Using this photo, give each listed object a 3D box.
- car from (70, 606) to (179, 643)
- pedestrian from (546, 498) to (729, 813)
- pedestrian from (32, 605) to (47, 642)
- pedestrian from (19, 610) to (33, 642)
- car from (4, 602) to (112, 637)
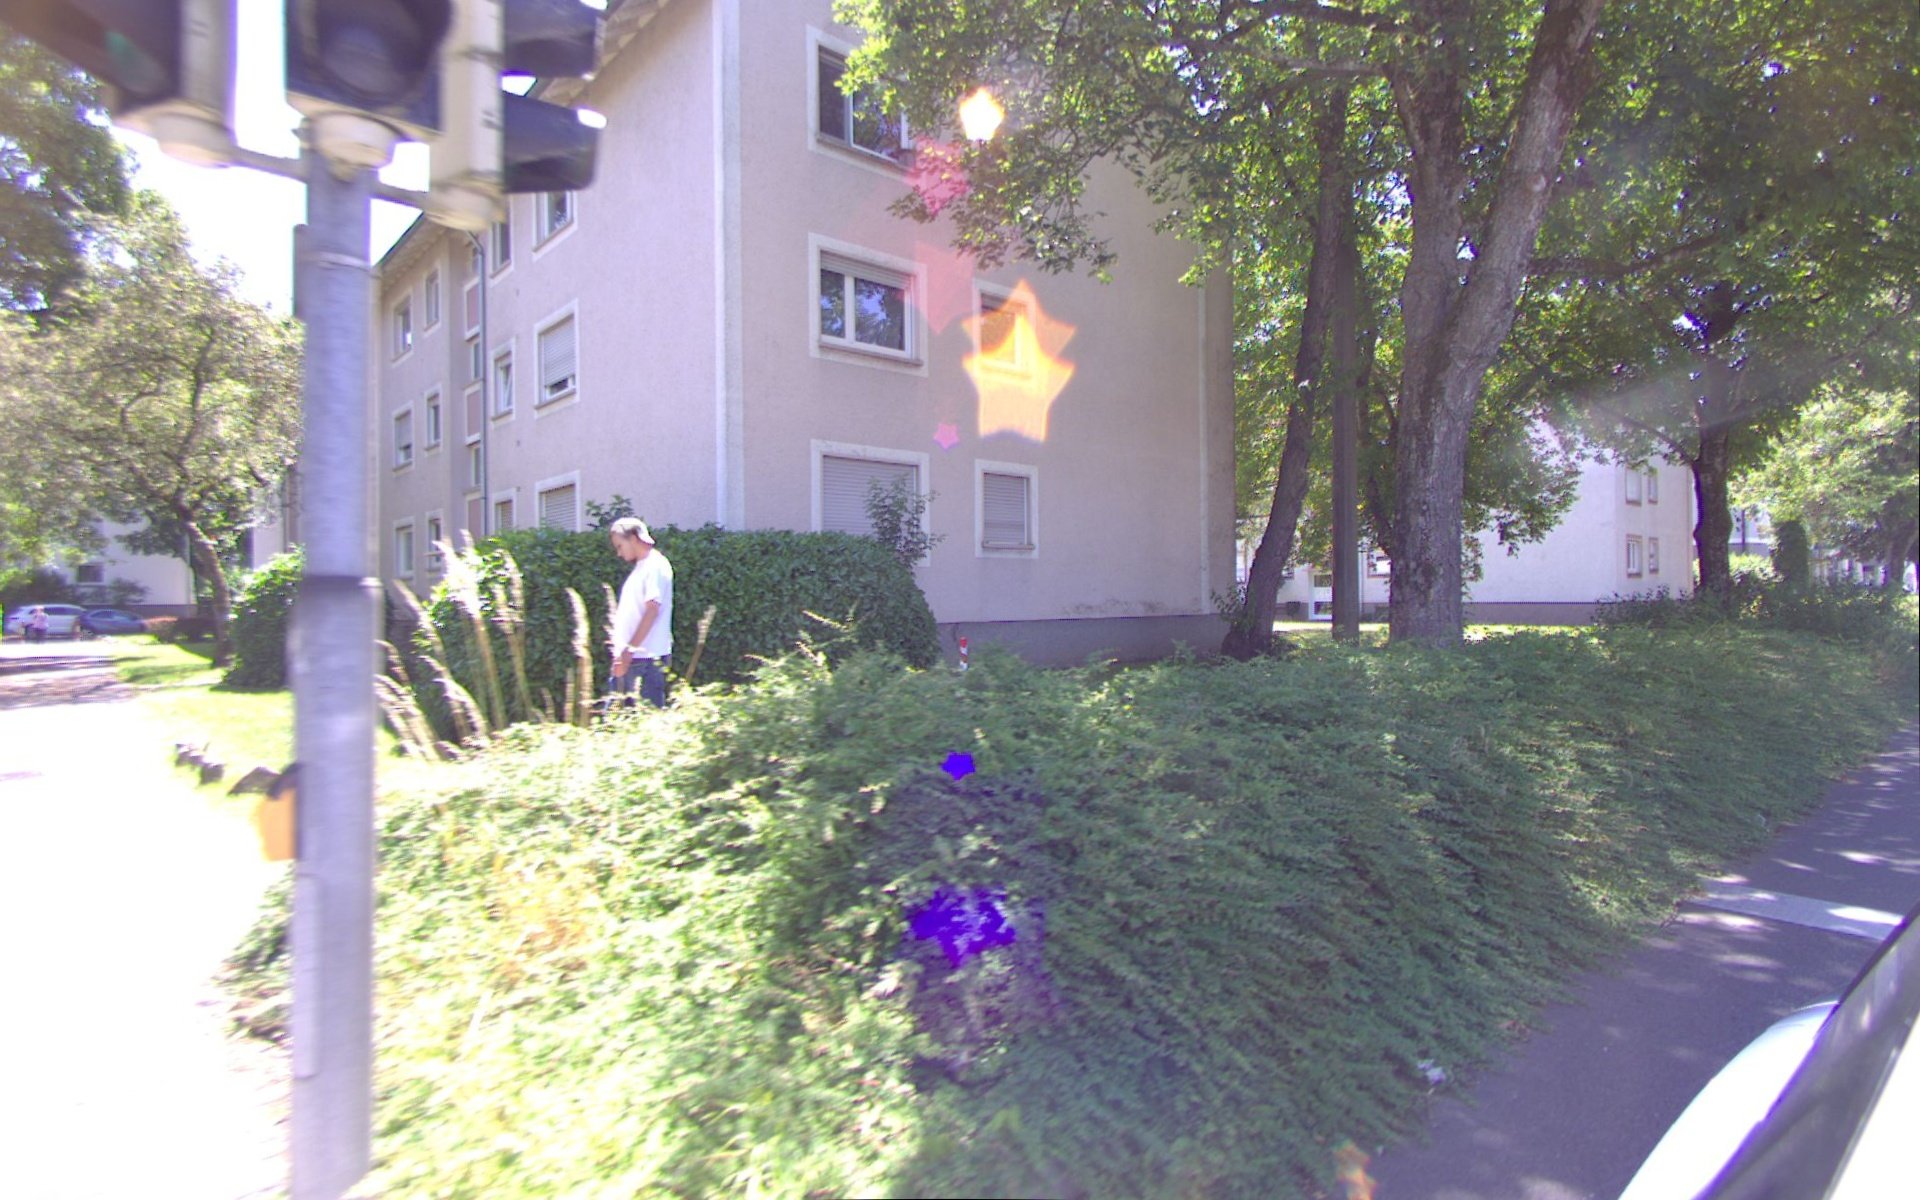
[{"bbox_3d":[-40.830,1.148,49.522,4.073,1.647,1.685,-1,1,-41],"label":"car"},{"bbox_3d":[-2.101,0.330,6.646,0.668,1.897,0.893,-2,0,30],"label":"pedestrian"},{"bbox_3d":[-36.973,0.937,40.658,0.361,1.452,0.381,-1,0,-34],"label":"pedestrian"},{"bbox_3d":[-37.301,1.039,40.423,0.361,1.260,0.381,-1,0,-34],"label":"pedestrian"},{"bbox_3d":[-46.117,0.962,51.866,4.073,1.647,1.685,-1,1,-41],"label":"car"}]
